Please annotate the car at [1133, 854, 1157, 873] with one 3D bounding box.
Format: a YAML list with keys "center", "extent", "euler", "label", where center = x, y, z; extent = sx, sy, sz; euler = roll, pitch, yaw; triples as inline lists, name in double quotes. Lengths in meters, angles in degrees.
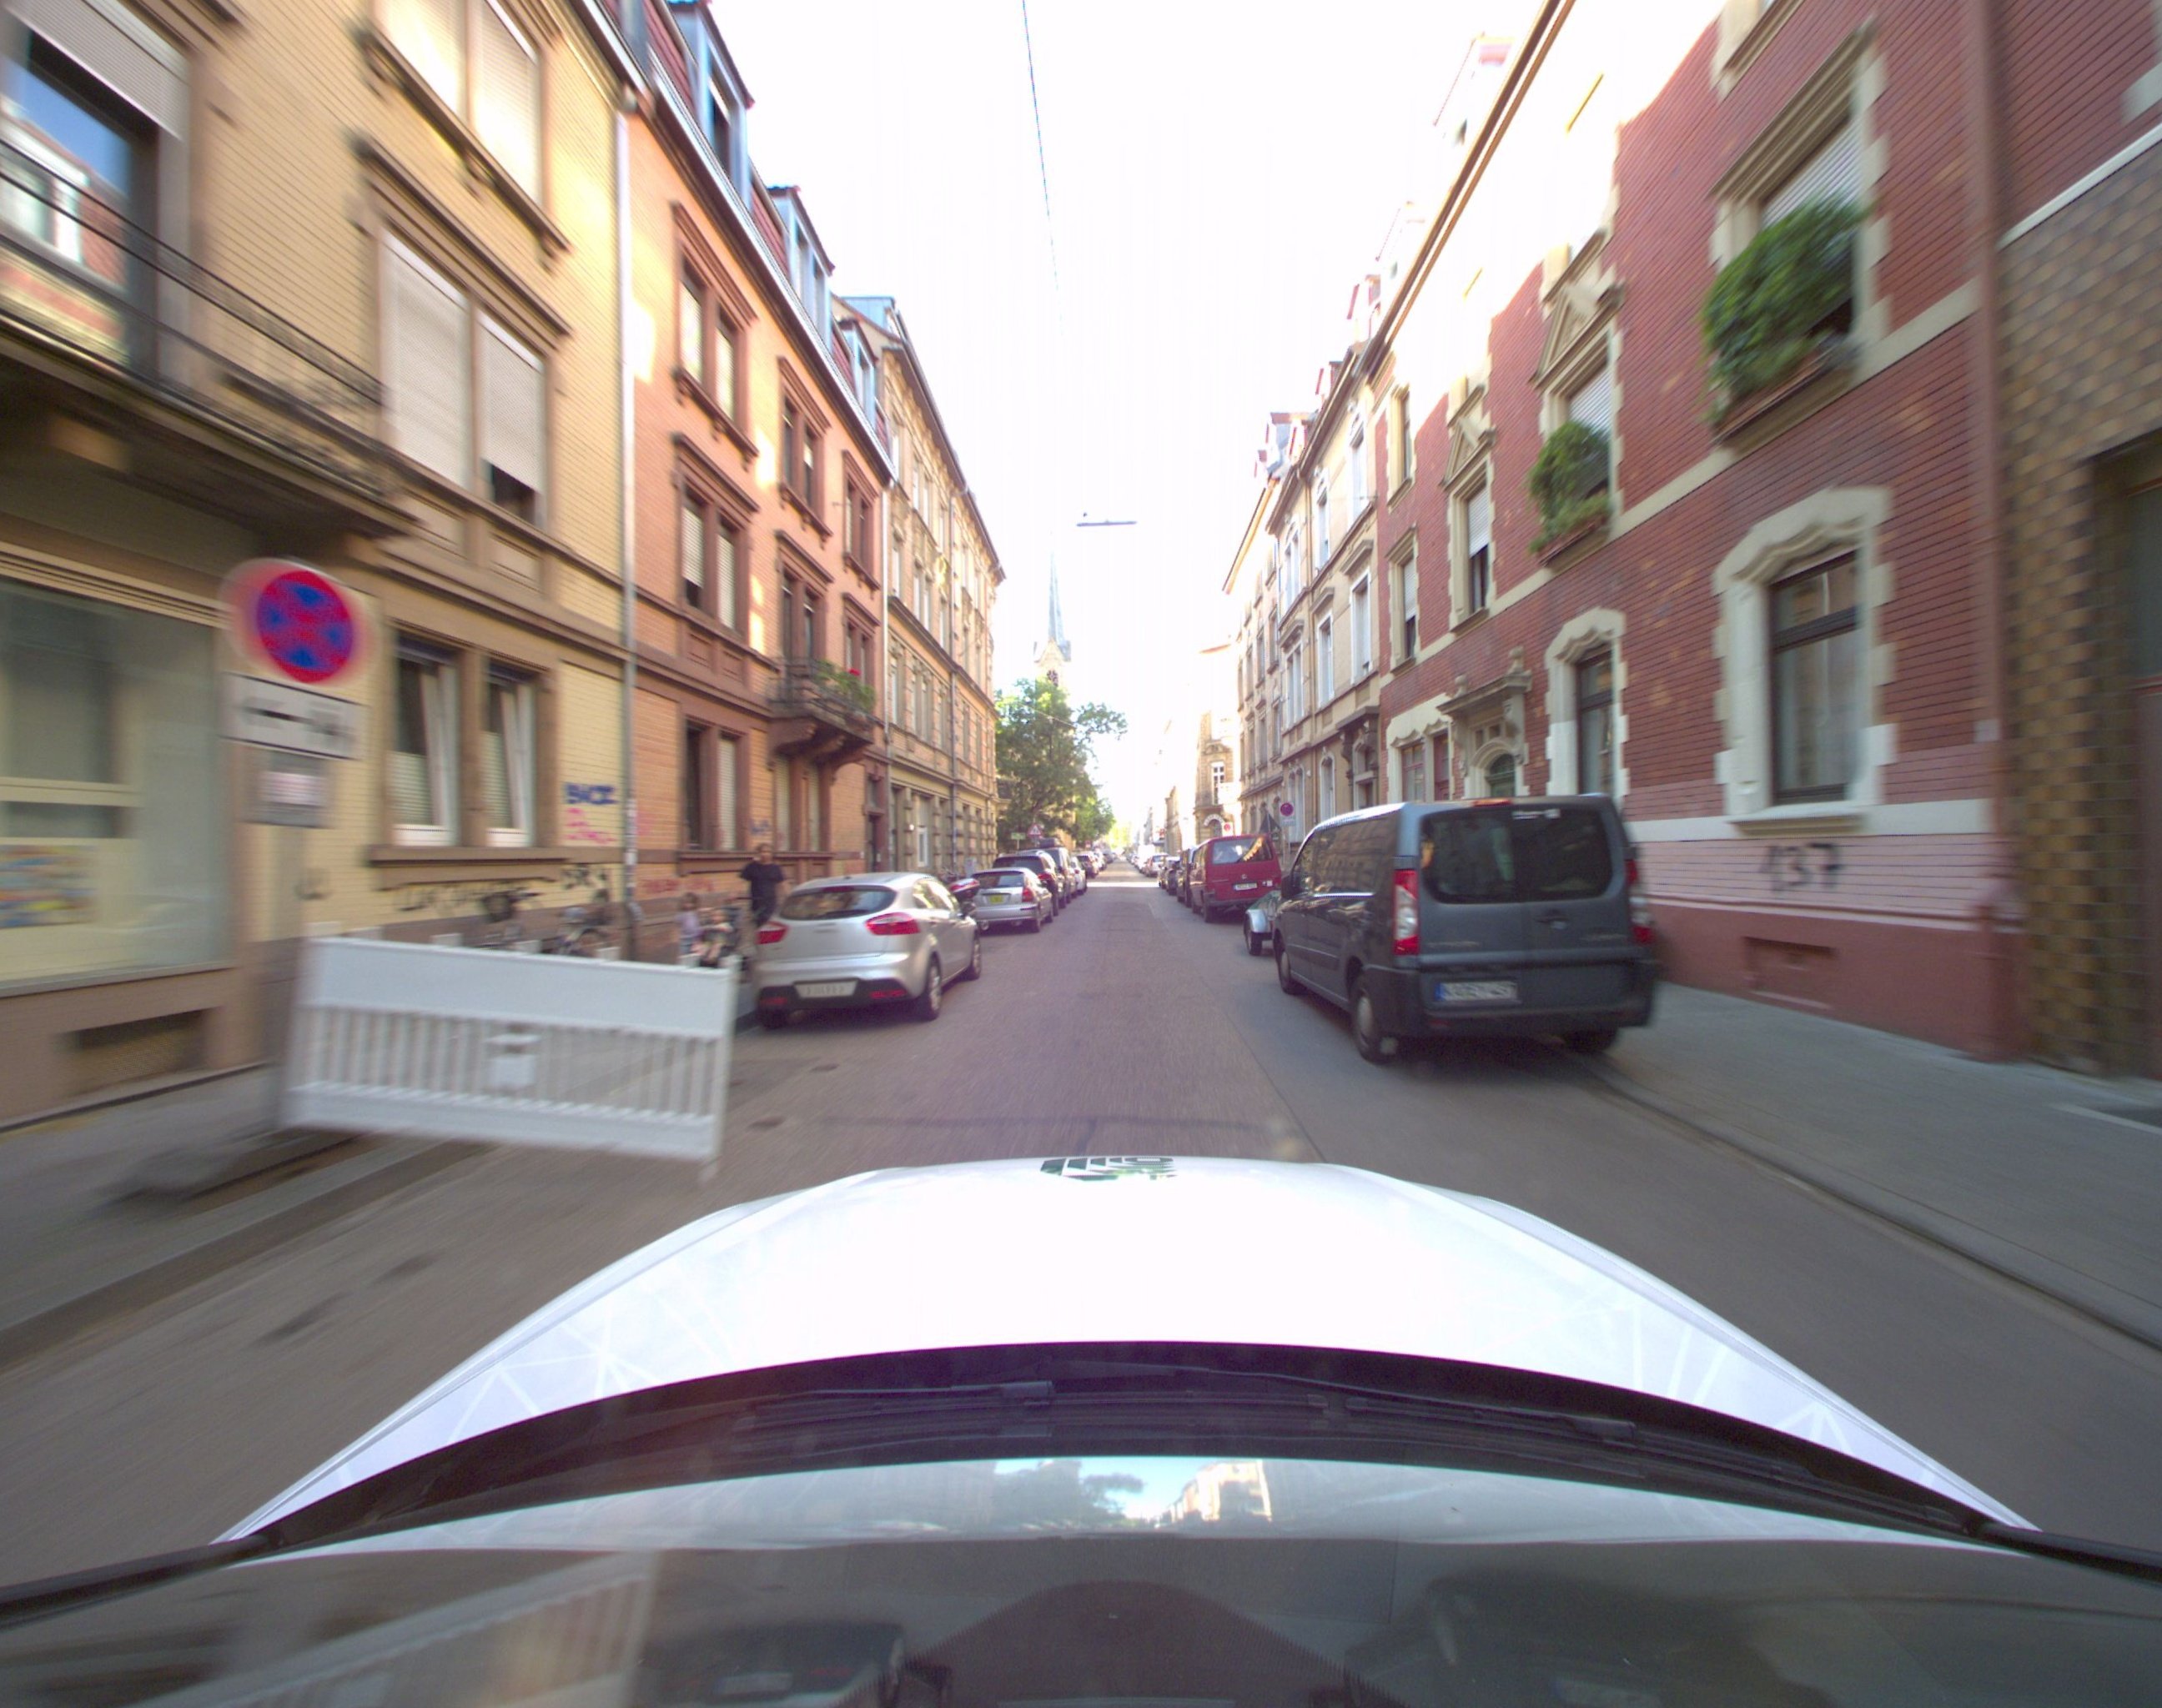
- center: [5.348, 0.744, 68.196]
  extent: [1.567, 1.525, 3.906]
  euler: [1, 0, -1]
  label: "car"

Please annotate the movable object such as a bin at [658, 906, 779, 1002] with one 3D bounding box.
- center: [-4.206, 1.133, 9.575]
  extent: [0.759, 0.932, 1.415]
  euler: [-1, 0, 0]
  label: "movable object such as a bin"

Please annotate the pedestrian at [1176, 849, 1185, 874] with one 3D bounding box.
- center: [7.013, 0.495, 57.340]
  extent: [0.570, 1.732, 0.665]
  euler: [-2, 0, 10]
  label: "pedestrian"

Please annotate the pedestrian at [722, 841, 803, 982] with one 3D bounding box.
- center: [-4.180, 0.728, 10.738]
  extent: [0.683, 1.765, 0.887]
  euler: [-1, 0, 0]
  label: "pedestrian"

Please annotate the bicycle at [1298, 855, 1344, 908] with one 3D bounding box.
- center: [6.320, 0.694, 21.525]
  extent: [0.724, 1.304, 1.693]
  euler: [-4, 0, 3]
  label: "bicycle"

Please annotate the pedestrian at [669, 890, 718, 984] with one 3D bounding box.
- center: [-4.687, 0.992, 9.871]
  extent: [0.392, 1.086, 0.431]
  euler: [0, 0, -3]
  label: "pedestrian"

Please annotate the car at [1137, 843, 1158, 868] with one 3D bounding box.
- center: [7.104, 0.150, 87.019]
  extent: [2.059, 2.611, 5.892]
  euler: [-1, 0, 3]
  label: "car"

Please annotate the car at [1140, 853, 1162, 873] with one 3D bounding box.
- center: [6.181, 0.778, 72.423]
  extent: [1.800, 1.690, 4.218]
  euler: [1, -1, 3]
  label: "car"

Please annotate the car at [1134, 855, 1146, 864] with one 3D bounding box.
- center: [9.555, 0.882, 131.562]
  extent: [1.889, 1.488, 3.872]
  euler: [-1, 0, 3]
  label: "car"

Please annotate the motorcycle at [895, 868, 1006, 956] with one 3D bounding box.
- center: [-2.300, 0.976, 14.095]
  extent: [0.849, 1.360, 2.171]
  euler: [-3, 0, -40]
  label: "motorcycle"

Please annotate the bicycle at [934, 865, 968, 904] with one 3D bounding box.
- center: [-4.126, 0.948, 25.878]
  extent: [0.664, 1.125, 1.787]
  euler: [1, 0, 3]
  label: "bicycle"

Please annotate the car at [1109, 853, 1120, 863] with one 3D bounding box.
- center: [5.905, 0.686, 143.151]
  extent: [1.868, 1.796, 4.003]
  euler: [-1, 0, 3]
  label: "car"

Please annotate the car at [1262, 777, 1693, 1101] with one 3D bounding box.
- center: [2.986, 0.525, 7.384]
  extent: [1.837, 1.983, 4.579]
  euler: [1, 0, 3]
  label: "car"

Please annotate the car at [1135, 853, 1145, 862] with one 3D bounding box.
- center: [10.955, 0.661, 152.082]
  extent: [1.762, 1.741, 4.003]
  euler: [-1, 0, 3]
  label: "car"

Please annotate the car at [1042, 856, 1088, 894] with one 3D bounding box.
- center: [-0.580, 0.808, 32.971]
  extent: [1.668, 1.420, 3.875]
  euler: [0, 0, 1]
  label: "car"

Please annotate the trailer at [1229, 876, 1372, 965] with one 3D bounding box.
- center: [3.388, 0.981, 13.061]
  extent: [1.499, 1.113, 3.040]
  euler: [2, 0, 1]
  label: "trailer"

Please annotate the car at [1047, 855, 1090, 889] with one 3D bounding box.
- center: [-0.535, 0.801, 38.379]
  extent: [1.715, 1.481, 4.093]
  euler: [0, 0, 3]
  label: "car"

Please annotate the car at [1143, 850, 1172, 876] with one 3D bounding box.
- center: [5.404, 0.603, 57.698]
  extent: [1.697, 1.714, 3.938]
  euler: [-2, 0, 1]
  label: "car"

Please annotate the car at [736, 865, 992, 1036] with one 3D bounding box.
- center: [-2.174, 0.894, 9.335]
  extent: [1.667, 1.419, 4.002]
  euler: [-3, 0, 2]
  label: "car"

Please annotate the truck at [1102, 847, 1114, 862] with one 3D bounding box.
- center: [5.986, 0.189, 181.978]
  extent: [2.521, 3.282, 7.000]
  euler: [-1, 0, 3]
  label: "truck"

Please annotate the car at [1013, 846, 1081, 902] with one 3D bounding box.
- center: [-1.088, 0.639, 28.516]
  extent: [1.884, 1.784, 4.612]
  euler: [0, 0, 3]
  label: "car"

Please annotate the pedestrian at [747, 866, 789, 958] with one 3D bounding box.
- center: [-4.584, 0.832, 11.922]
  extent: [0.426, 1.306, 0.397]
  euler: [0, 0, 30]
  label: "pedestrian"

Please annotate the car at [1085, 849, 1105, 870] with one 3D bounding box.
- center: [1.432, 0.558, 83.308]
  extent: [1.857, 1.957, 4.613]
  euler: [-3, 0, 2]
  label: "car"

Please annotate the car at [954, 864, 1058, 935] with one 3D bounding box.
- center: [-1.542, 0.918, 18.146]
  extent: [1.691, 1.314, 4.003]
  euler: [2, 0, 3]
  label: "car"

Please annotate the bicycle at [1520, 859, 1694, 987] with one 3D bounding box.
- center: [5.758, 0.694, 9.083]
  extent: [0.665, 1.222, 1.993]
  euler: [-4, -1, 3]
  label: "bicycle"

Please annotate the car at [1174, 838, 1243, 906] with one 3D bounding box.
- center: [3.976, 0.524, 26.020]
  extent: [1.762, 1.961, 4.267]
  euler: [0, 0, 3]
  label: "car"

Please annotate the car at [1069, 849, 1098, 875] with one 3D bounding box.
- center: [0.221, 0.603, 61.671]
  extent: [1.837, 1.862, 4.470]
  euler: [-1, 0, 4]
  label: "car"

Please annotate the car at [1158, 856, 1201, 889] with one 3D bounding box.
- center: [4.600, 0.807, 38.542]
  extent: [1.699, 1.459, 4.515]
  euler: [0, 0, 3]
  label: "car"

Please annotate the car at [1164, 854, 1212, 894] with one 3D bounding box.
- center: [4.282, 0.772, 33.072]
  extent: [1.659, 1.479, 3.891]
  euler: [-1, 0, 3]
  label: "car"

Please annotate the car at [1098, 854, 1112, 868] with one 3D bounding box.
- center: [3.072, 0.908, 104.377]
  extent: [1.594, 1.614, 3.810]
  euler: [-3, 0, 2]
  label: "car"

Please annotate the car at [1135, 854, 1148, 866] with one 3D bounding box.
- center: [7.580, 0.771, 102.705]
  extent: [1.596, 1.505, 4.005]
  euler: [0, 0, 4]
  label: "car"

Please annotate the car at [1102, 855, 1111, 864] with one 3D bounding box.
- center: [5.160, 1.037, 165.386]
  extent: [1.869, 1.796, 4.000]
  euler: [-1, 0, 1]
  label: "car"

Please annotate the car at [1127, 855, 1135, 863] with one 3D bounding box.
- center: [12.755, 1.310, 207.815]
  extent: [1.985, 2.013, 4.003]
  euler: [-1, 0, 3]
  label: "car"

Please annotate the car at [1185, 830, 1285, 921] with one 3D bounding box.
- center: [3.711, 0.475, 20.389]
  extent: [1.824, 2.013, 4.745]
  euler: [0, 0, 3]
  label: "car"

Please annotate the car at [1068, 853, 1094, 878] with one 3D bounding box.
- center: [0.026, 0.750, 56.181]
  extent: [1.734, 1.646, 4.289]
  euler: [-1, 0, 1]
  label: "car"

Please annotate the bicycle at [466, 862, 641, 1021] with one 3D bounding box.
- center: [-5.283, 0.804, 8.300]
  extent: [0.522, 1.425, 1.713]
  euler: [2, 0, 4]
  label: "bicycle"

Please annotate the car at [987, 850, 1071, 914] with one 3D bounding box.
- center: [-1.367, 0.713, 23.106]
  extent: [1.780, 1.624, 4.612]
  euler: [0, 0, 4]
  label: "car"
